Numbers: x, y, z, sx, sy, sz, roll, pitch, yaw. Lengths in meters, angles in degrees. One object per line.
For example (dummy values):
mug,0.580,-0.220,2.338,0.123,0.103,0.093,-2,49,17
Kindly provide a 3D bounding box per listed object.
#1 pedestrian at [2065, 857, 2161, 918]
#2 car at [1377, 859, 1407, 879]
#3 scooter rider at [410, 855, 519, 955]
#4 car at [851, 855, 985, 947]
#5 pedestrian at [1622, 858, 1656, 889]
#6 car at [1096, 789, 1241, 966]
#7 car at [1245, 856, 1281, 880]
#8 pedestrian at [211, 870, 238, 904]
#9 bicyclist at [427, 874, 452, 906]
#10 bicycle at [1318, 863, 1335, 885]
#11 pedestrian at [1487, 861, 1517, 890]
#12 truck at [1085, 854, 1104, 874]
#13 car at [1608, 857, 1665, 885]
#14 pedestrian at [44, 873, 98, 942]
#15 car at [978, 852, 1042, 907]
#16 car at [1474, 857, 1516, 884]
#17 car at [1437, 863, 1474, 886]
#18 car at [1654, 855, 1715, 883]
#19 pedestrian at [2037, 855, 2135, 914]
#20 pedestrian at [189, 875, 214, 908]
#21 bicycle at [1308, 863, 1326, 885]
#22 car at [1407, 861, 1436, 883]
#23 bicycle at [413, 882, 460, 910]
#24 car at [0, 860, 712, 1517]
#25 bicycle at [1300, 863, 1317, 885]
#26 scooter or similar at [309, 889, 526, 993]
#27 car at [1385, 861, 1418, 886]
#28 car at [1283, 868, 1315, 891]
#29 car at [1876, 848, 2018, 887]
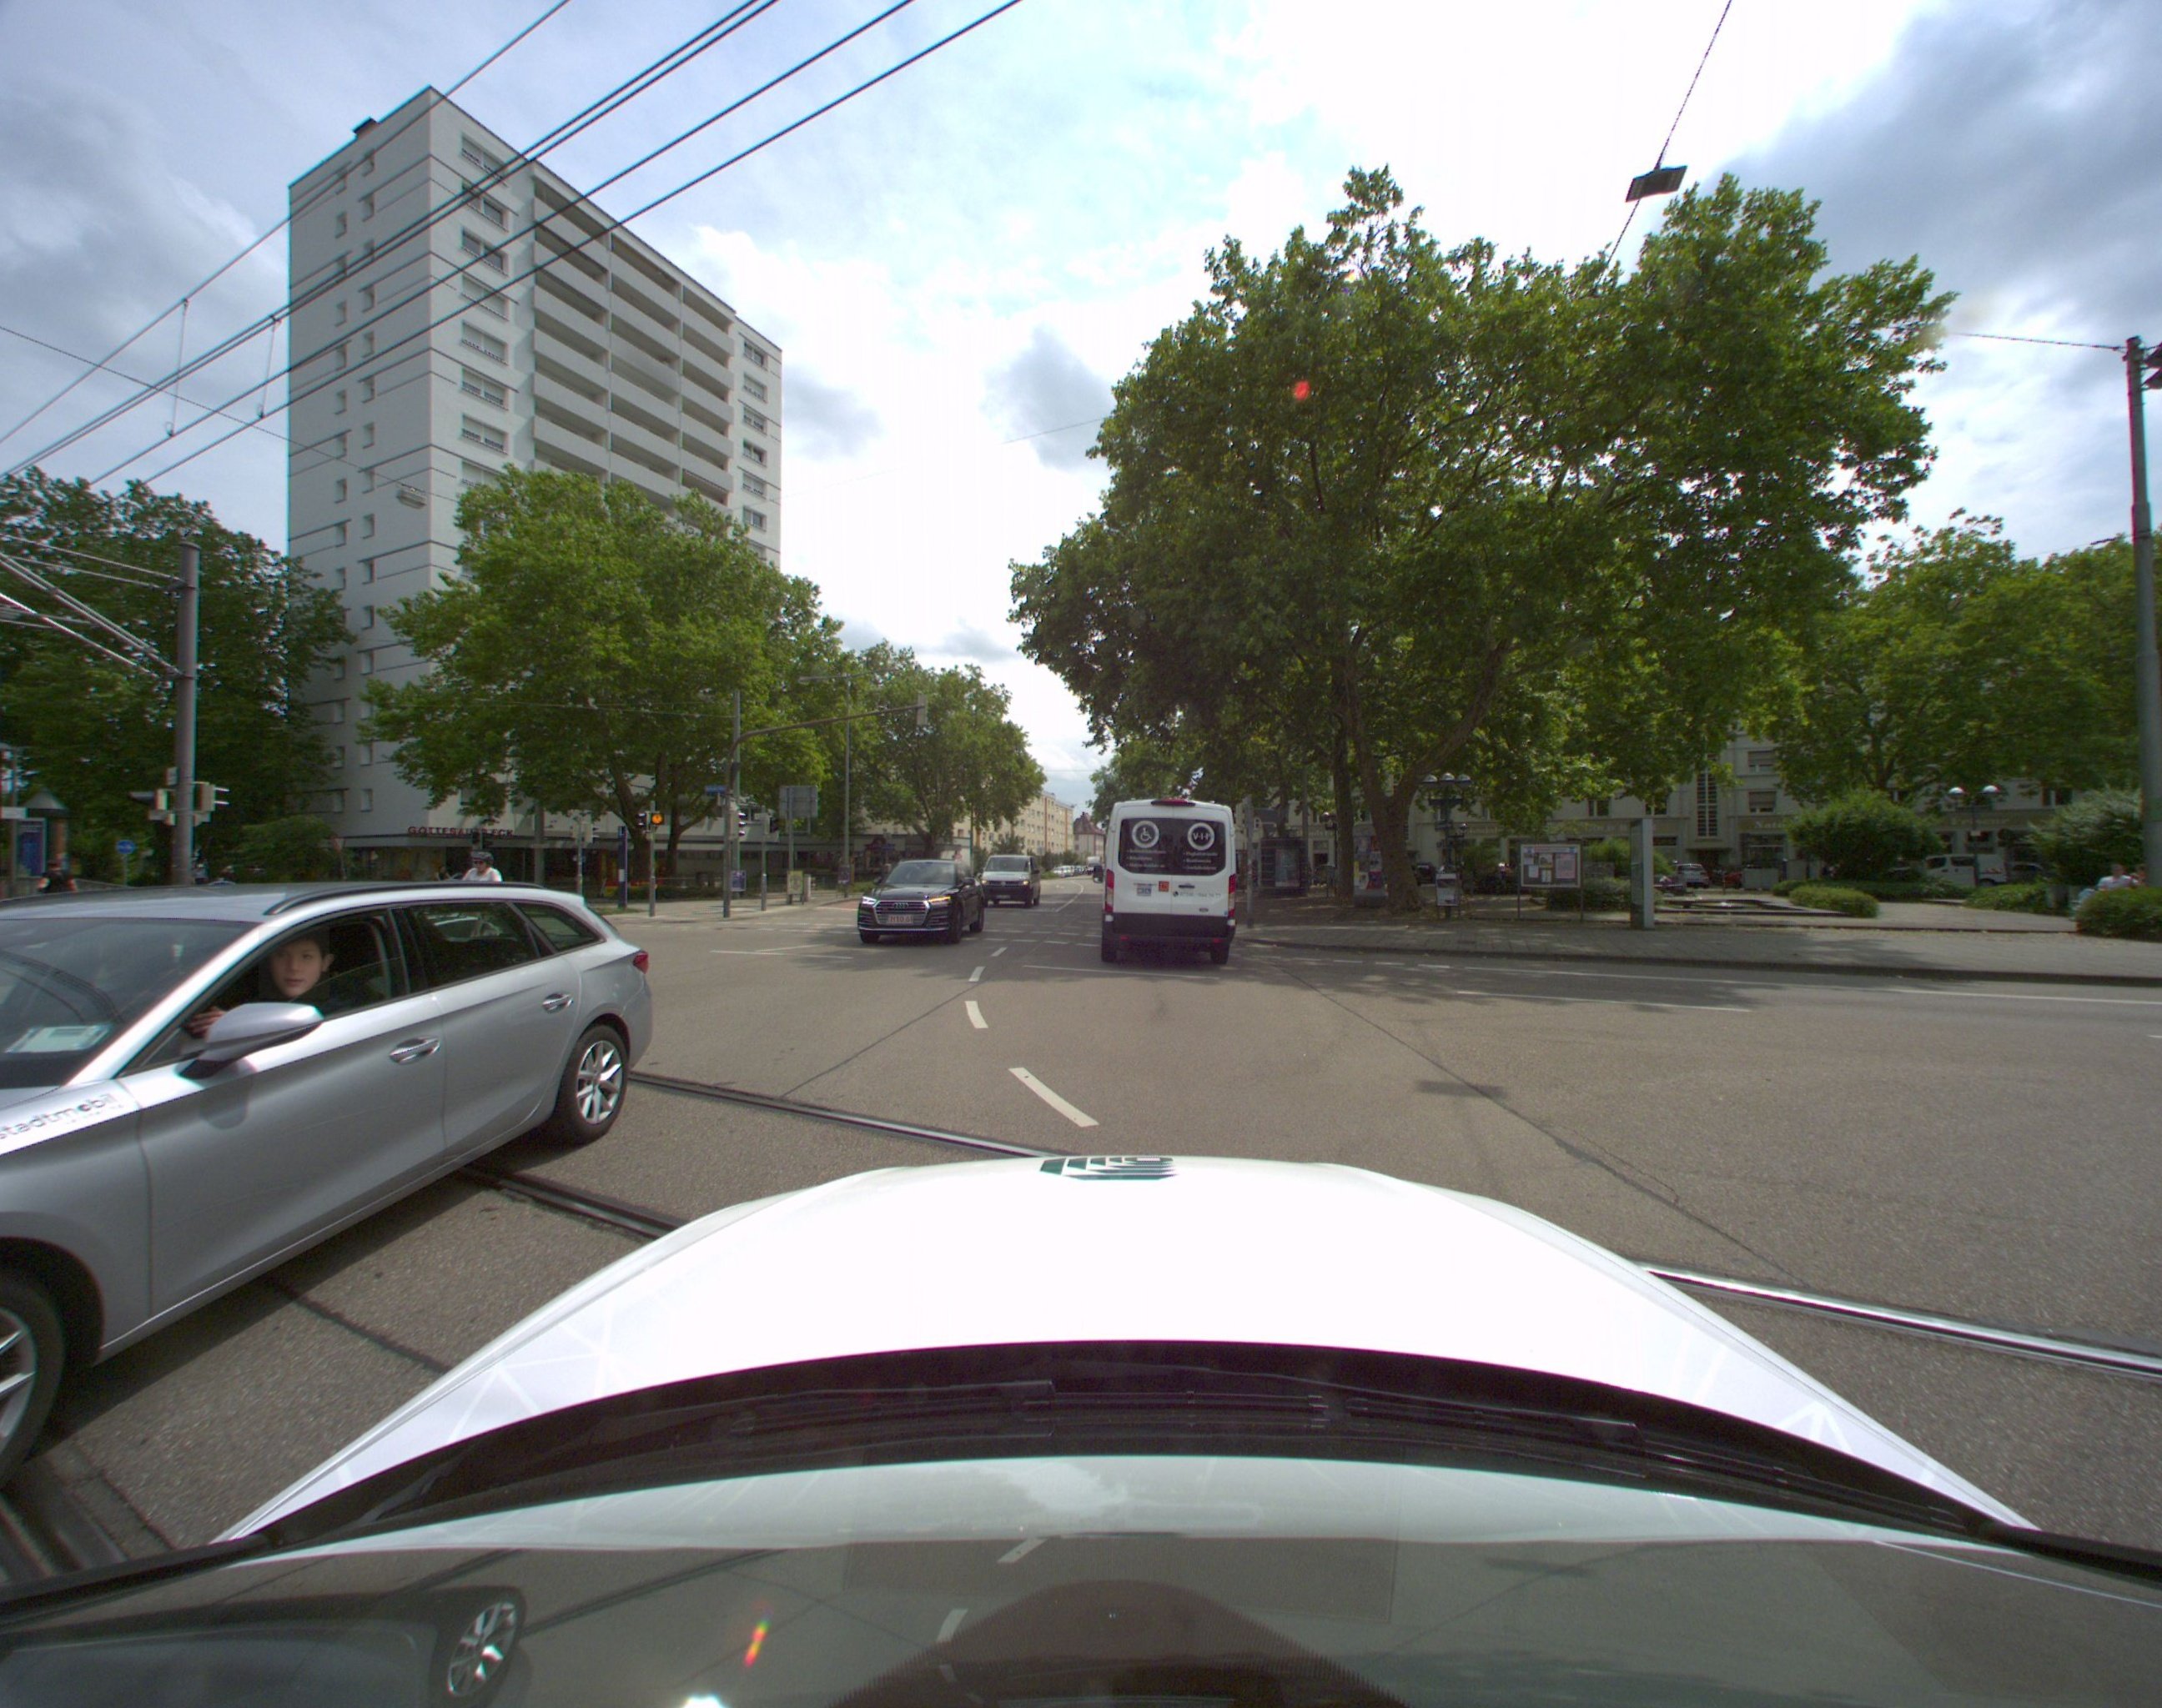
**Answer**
pedestrian,23.121,0.727,18.200,1.164,1.317,0.872,-1,0,23
car,24.227,1.164,63.376,1.976,1.488,4.218,-1,-1,24
scooter rider,-8.942,0.710,11.852,0.736,1.376,1.087,-1,0,1
car,-3.212,0.864,16.958,1.816,1.647,4.428,0,0,1
pedestrian,21.974,0.754,32.087,0.878,1.200,1.130,-1,0,23
car,1.406,0.413,14.105,2.061,2.541,4.638,-1,-2,4
car,13.364,1.021,59.697,1.916,1.706,4.352,-1,-1,21
pedestrian,-42.547,1.639,40.449,0.676,1.636,0.700,-1,-1,22
bicyclist,-27.442,1.545,34.845,0.744,1.342,0.494,-3,-1,21
bicycle,15.906,1.289,52.678,0.415,1.378,2.326,-1,0,33
pedestrian,17.700,0.909,34.262,1.085,1.213,1.147,-1,-1,26
truck,2.313,1.598,135.064,2.529,3.107,7.030,-3,-1,5
car,33.962,1.051,49.938,1.976,1.618,4.226,-1,-1,21
pedestrian,-23.274,1.213,18.766,0.591,1.552,0.674,-1,0,27
car,-2.611,0.907,31.112,1.917,1.936,4.948,0,0,1
car,26.860,1.069,52.977,1.976,1.695,4.583,-1,-1,21
car,24.866,1.315,54.175,1.976,1.464,4.021,-1,-1,21
car,36.153,0.880,48.913,1.976,1.640,4.022,-1,-1,22
pedestrian,23.508,0.699,19.078,1.164,1.317,0.872,-1,0,23
pedestrian,-43.449,1.856,40.250,0.500,1.623,0.700,-1,-1,22
bicycle,15.370,1.302,52.984,0.415,1.378,2.326,-1,0,33
car,26.596,1.391,63.617,1.976,1.591,4.218,-1,-1,24
bicycle,-27.643,1.798,34.931,1.948,1.094,0.630,-3,-1,19
car,-3.445,0.801,3.342,1.758,1.524,4.844,-1,0,-2
bicycle,14.941,1.303,53.444,0.415,1.378,2.326,-1,-1,33
scooter or similar,-8.955,1.113,11.216,0.736,1.138,2.689,-1,0,1
car,21.757,1.298,55.318,1.976,1.599,4.021,-1,-1,21
car,15.885,1.811,59.195,1.811,1.552,4.021,-1,-1,21
car,42.030,0.649,39.662,4.279,1.816,2.012,-1,-1,25
